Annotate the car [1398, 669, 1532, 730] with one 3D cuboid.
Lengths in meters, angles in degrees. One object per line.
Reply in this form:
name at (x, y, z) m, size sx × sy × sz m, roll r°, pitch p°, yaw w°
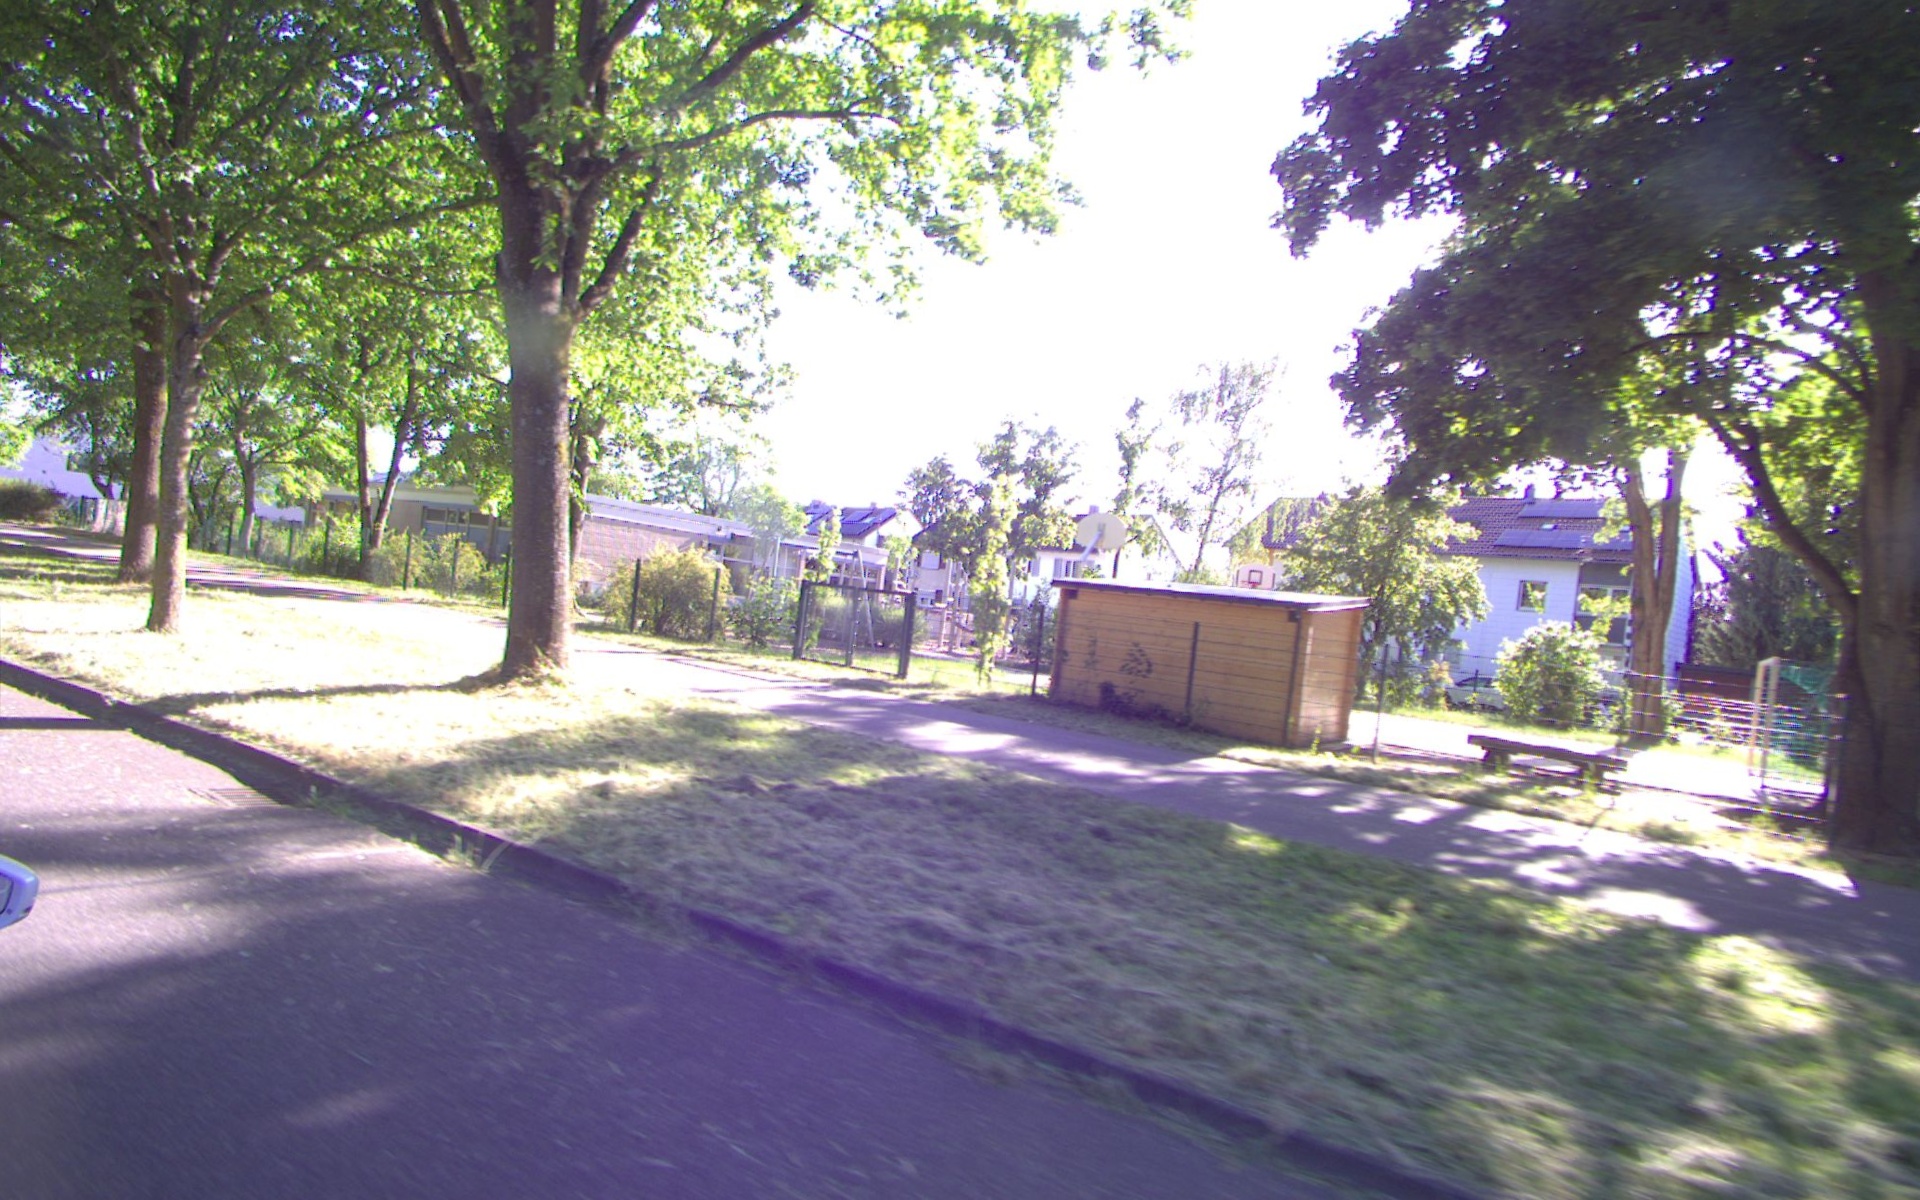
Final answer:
car at (18.885, 3.695, 37.712) m, size 1.889 × 1.772 × 3.957 m, roll 5°, pitch 0°, yaw -39°
